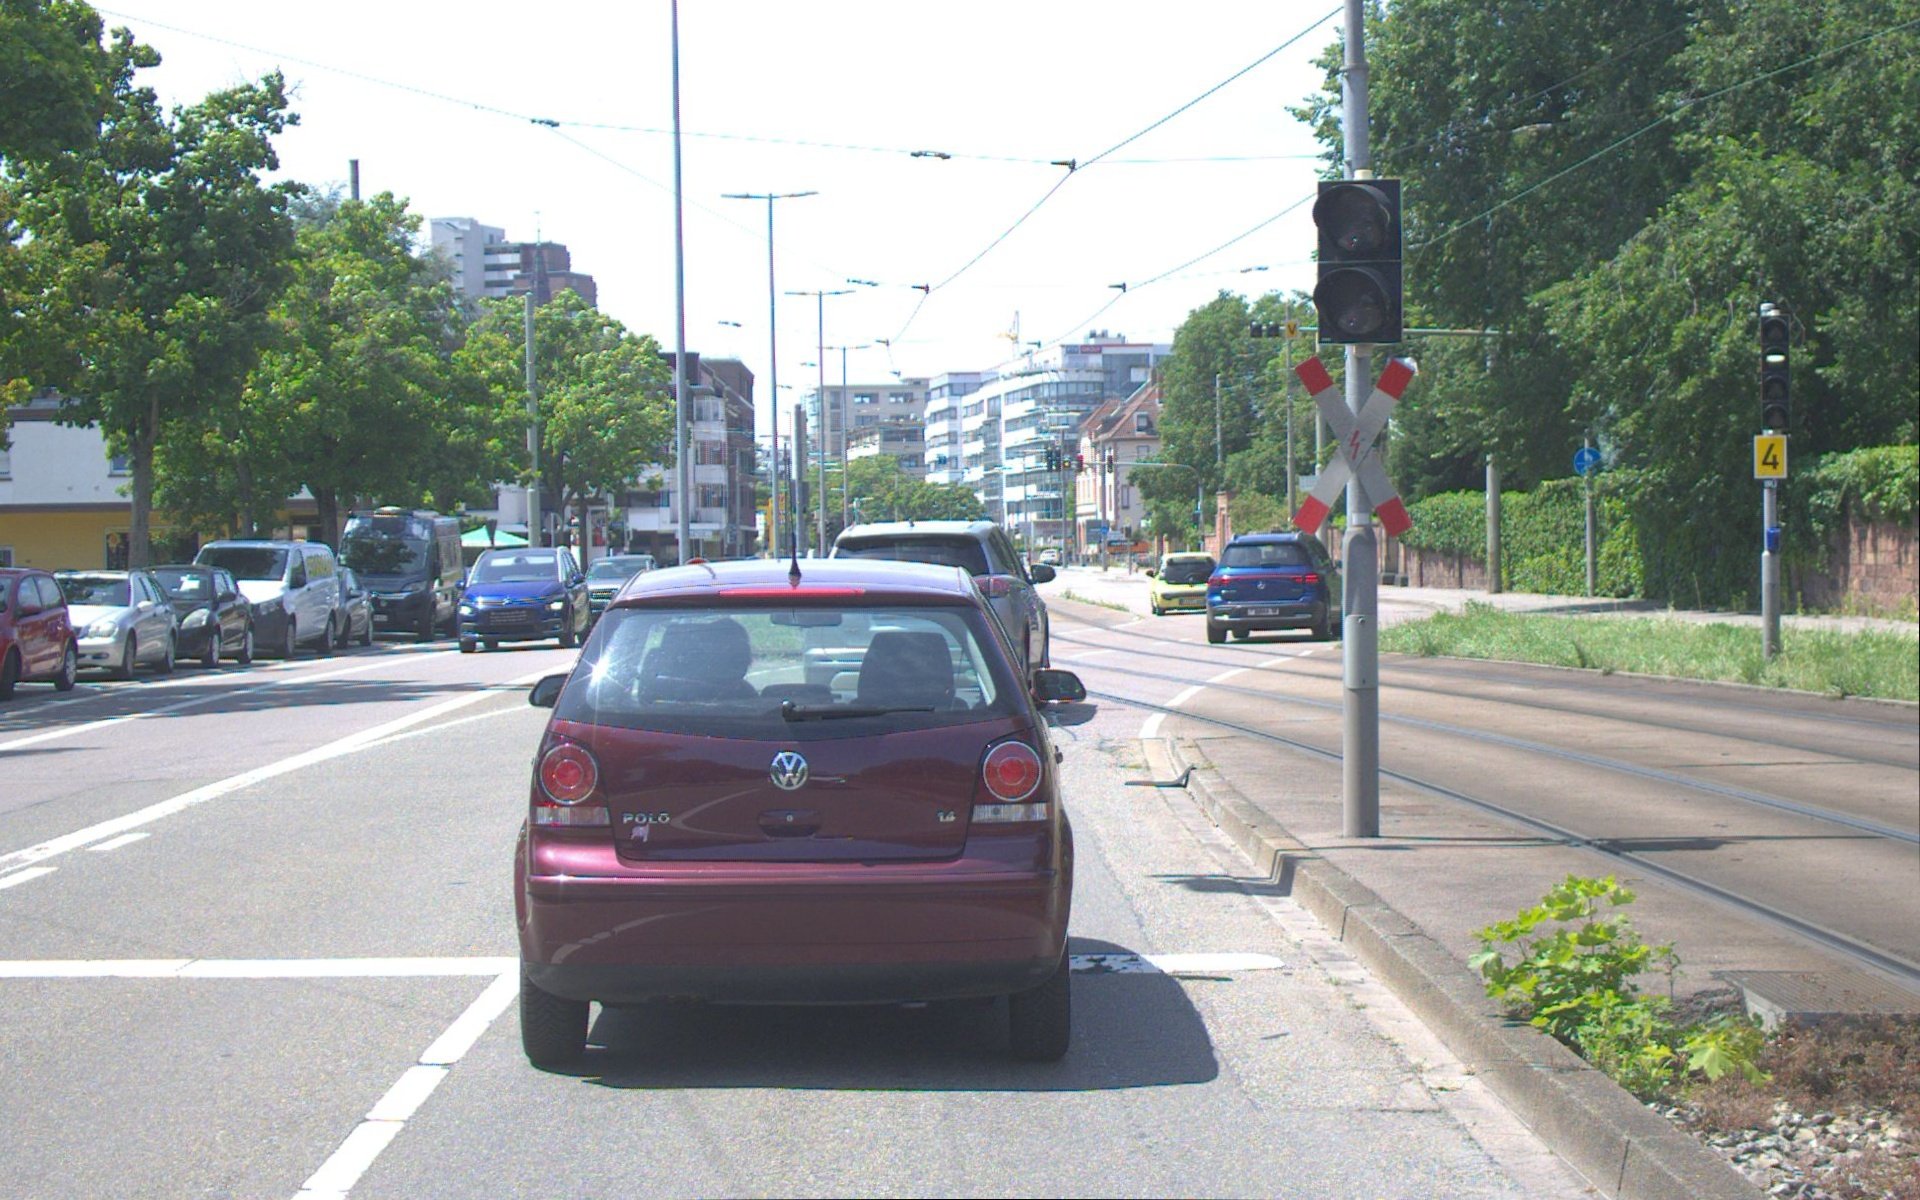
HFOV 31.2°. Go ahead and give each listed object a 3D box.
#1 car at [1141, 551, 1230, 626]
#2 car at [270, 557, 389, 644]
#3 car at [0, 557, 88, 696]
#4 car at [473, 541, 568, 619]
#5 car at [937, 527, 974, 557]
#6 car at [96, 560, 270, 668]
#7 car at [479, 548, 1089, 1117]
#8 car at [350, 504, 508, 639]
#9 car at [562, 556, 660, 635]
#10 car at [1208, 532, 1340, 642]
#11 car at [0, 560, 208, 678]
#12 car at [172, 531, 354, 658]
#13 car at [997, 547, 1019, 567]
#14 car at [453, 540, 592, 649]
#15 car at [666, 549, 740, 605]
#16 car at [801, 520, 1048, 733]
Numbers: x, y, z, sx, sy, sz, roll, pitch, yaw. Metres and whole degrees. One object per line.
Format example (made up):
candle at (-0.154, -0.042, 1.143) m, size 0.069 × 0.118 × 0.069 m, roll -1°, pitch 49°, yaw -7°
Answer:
car at (5.223, -0.287, 80.086) m, size 1.795 × 1.677 × 4.000 m, roll 0°, pitch 1°, yaw 0°
car at (-11.292, -0.016, 61.744) m, size 1.405 × 1.435 × 3.840 m, roll 2°, pitch 1°, yaw -1°
car at (-11.385, 0.279, 39.561) m, size 1.672 × 1.541 × 3.727 m, roll 0°, pitch 0°, yaw 2°
car at (-11.807, -0.562, 92.598) m, size 1.875 × 1.958 × 5.165 m, roll 2°, pitch 1°, yaw -1°
car at (-0.279, -3.782, 223.126) m, size 1.918 × 1.904 × 4.572 m, roll -1°, pitch 1°, yaw -6°
car at (-11.579, 0.181, 51.451) m, size 1.614 × 1.479 × 3.785 m, roll 2°, pitch 1°, yaw 1°
car at (-0.477, 0.609, 11.368) m, size 1.609 × 1.493 × 4.000 m, roll -2°, pitch 1°, yaw 0°
car at (-11.245, -0.633, 73.250) m, size 2.398 × 2.647 × 6.173 m, roll 2°, pitch 1°, yaw -1°
car at (-7.484, -0.119, 73.974) m, size 1.737 × 1.570 × 3.713 m, roll -2°, pitch 1°, yaw -1°
car at (4.867, -0.237, 52.934) m, size 1.775 × 1.625 × 3.999 m, roll 0°, pitch 1°, yaw 9°
car at (-11.597, 0.216, 46.508) m, size 1.719 × 1.422 × 4.771 m, roll -2°, pitch 1°, yaw 1°
car at (-11.462, -0.120, 56.845) m, size 1.862 × 1.930 × 4.805 m, roll 2°, pitch 1°, yaw 1°
car at (2.991, -2.674, 214.417) m, size 1.354 × 1.248 × 2.972 m, roll 0°, pitch 1°, yaw 0°
car at (-7.054, -0.117, 55.785) m, size 1.737 × 1.651 × 4.067 m, roll -2°, pitch 1°, yaw -1°
car at (-6.819, -0.607, 91.549) m, size 1.648 × 1.371 × 3.811 m, roll -3°, pitch 1°, yaw -1°
car at (-0.231, 0.171, 29.079) m, size 1.795 × 1.677 × 4.000 m, roll 0°, pitch 1°, yaw 4°
